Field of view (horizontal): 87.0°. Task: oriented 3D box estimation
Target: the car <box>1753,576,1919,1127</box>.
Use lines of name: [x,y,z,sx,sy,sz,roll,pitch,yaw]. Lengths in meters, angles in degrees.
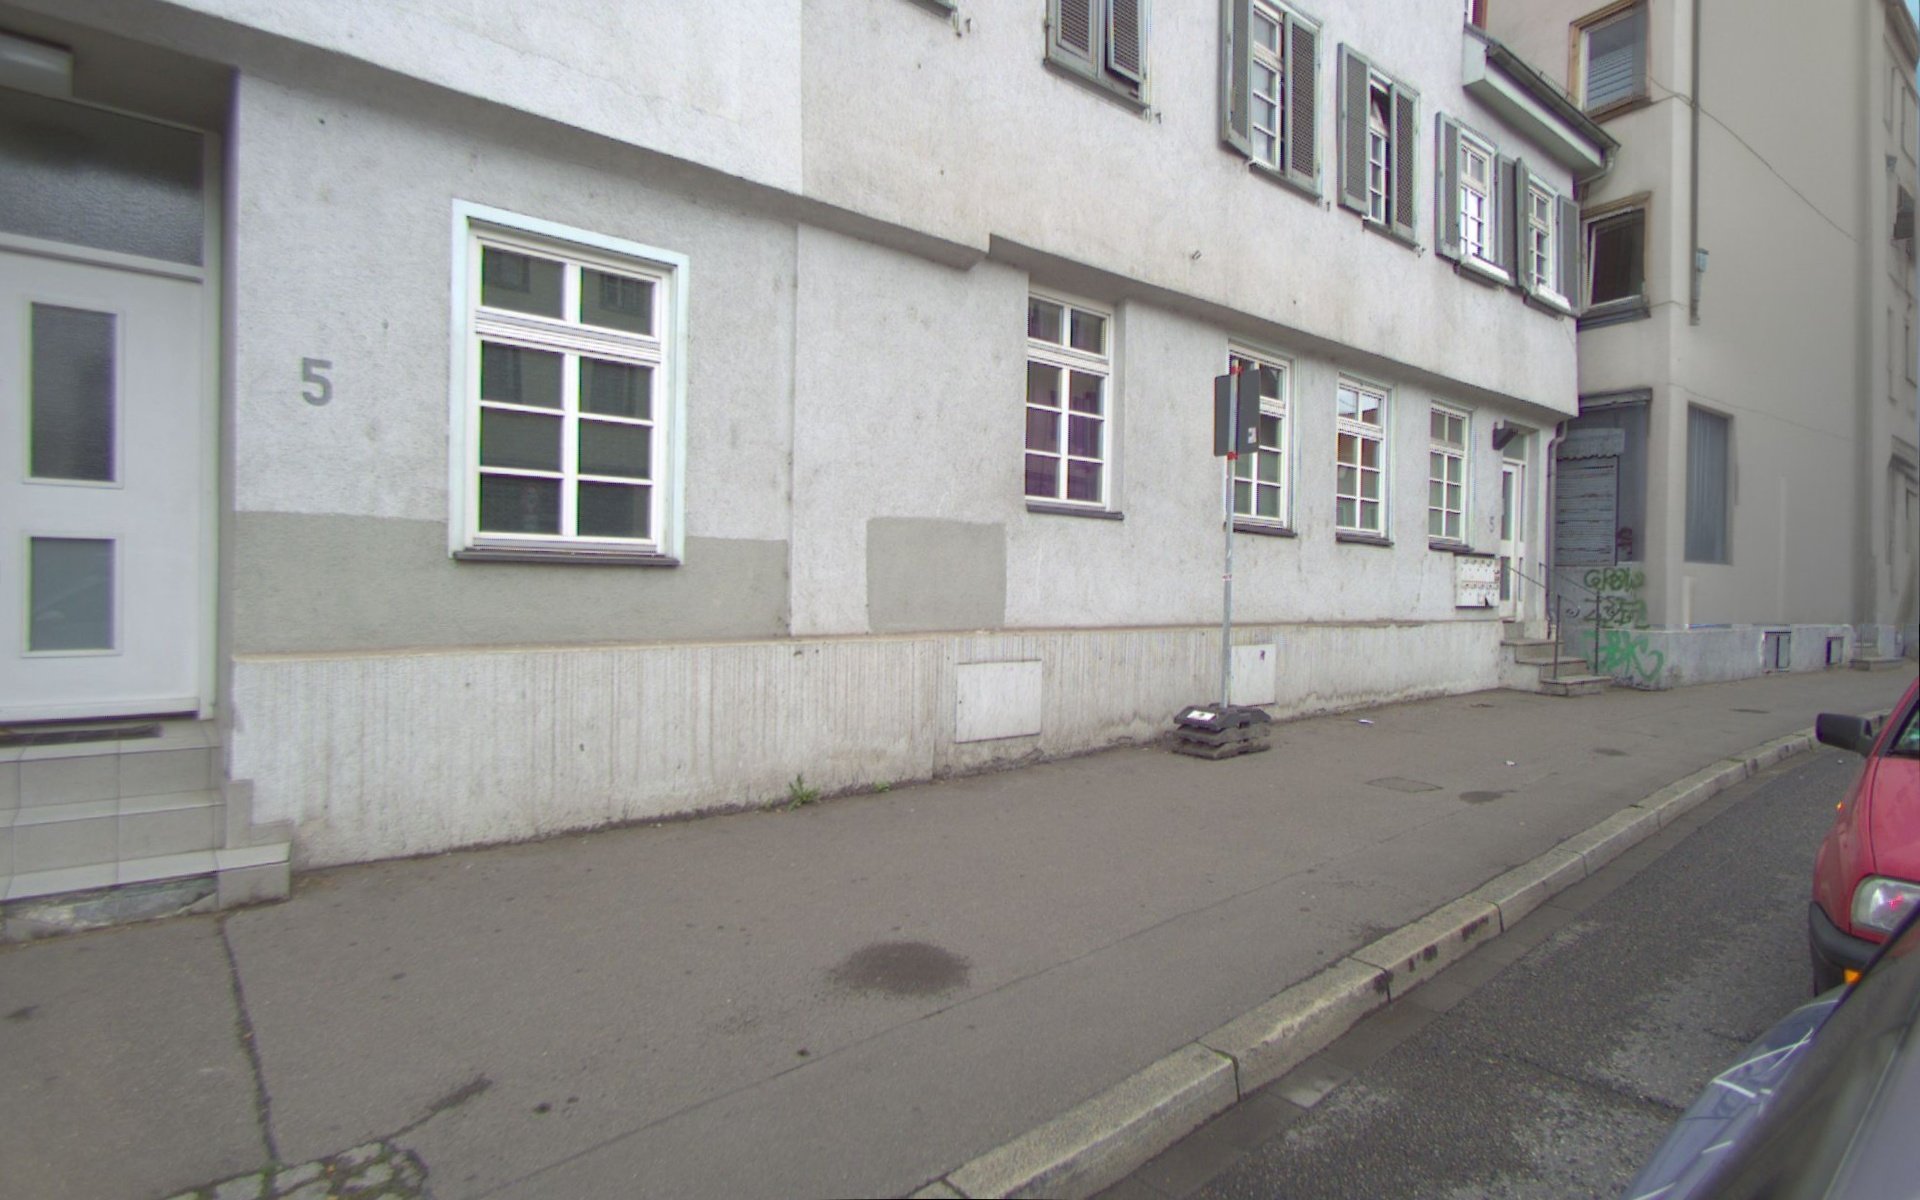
car: [4.374,0.686,3.500,3.928,1.443,1.792,1,0,-40]
